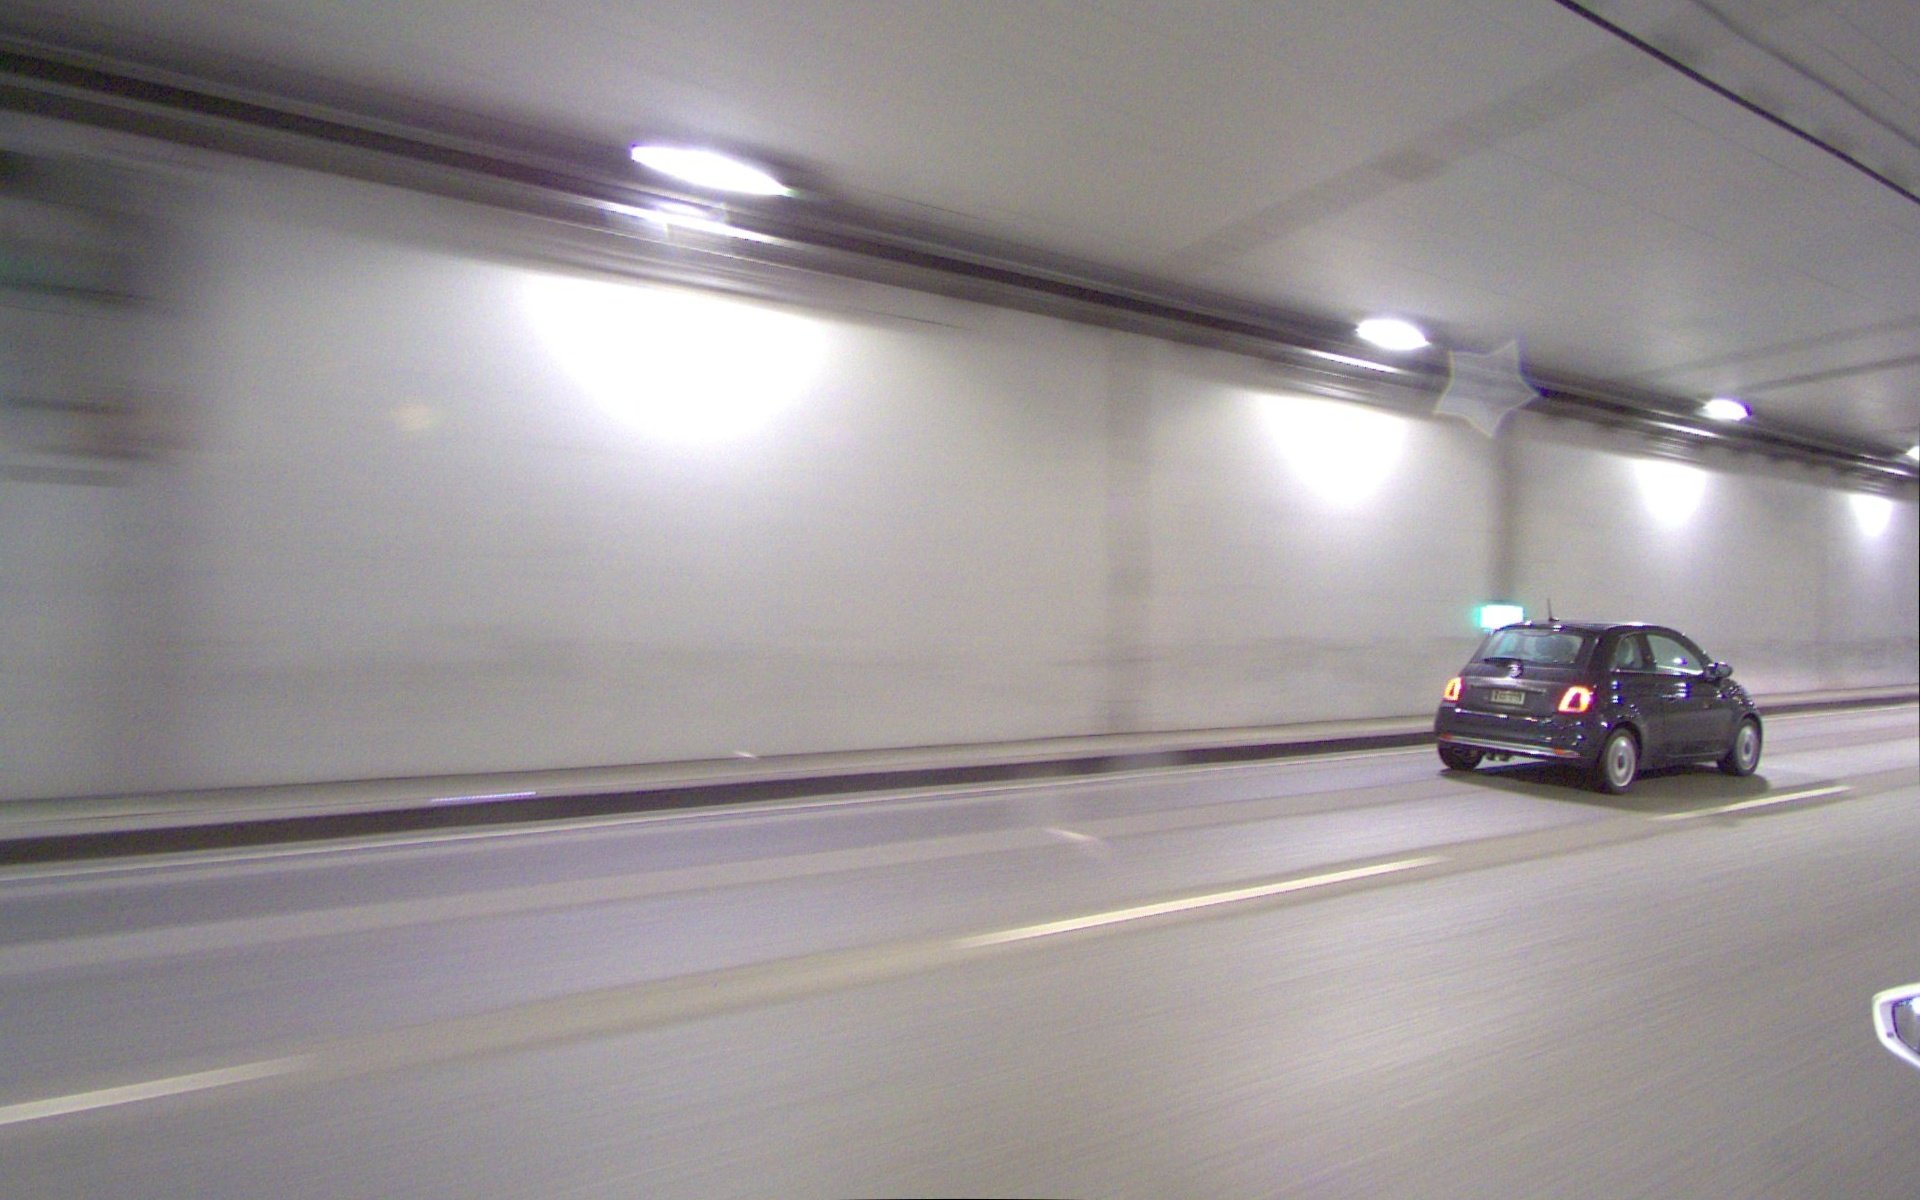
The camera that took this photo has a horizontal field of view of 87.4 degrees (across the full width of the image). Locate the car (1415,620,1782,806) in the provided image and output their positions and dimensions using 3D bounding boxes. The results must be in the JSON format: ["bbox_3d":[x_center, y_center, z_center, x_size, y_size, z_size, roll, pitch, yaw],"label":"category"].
[{"bbox_3d":[6.236,0.951,9.740,3.532,1.474,1.604,1,0,-31],"label":"car"}]
